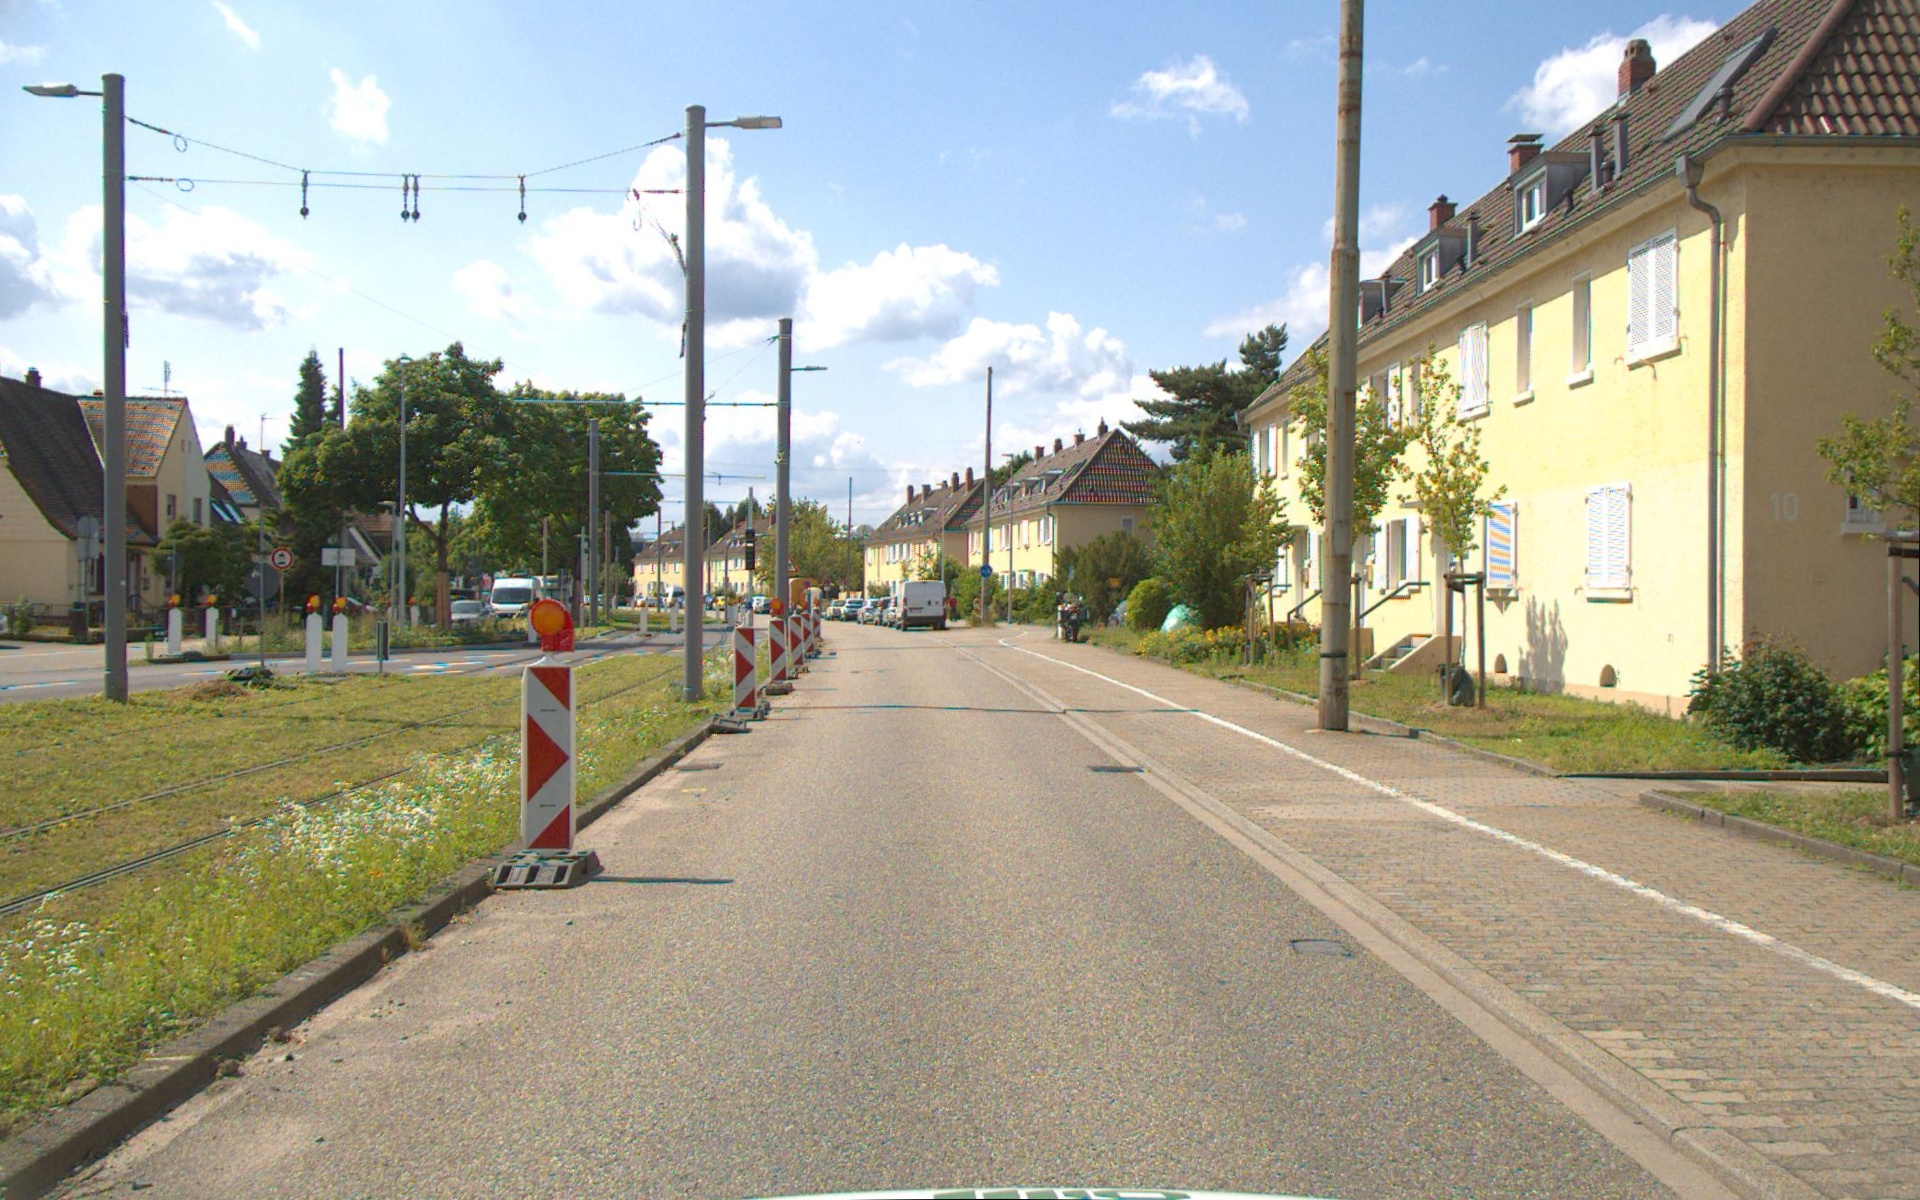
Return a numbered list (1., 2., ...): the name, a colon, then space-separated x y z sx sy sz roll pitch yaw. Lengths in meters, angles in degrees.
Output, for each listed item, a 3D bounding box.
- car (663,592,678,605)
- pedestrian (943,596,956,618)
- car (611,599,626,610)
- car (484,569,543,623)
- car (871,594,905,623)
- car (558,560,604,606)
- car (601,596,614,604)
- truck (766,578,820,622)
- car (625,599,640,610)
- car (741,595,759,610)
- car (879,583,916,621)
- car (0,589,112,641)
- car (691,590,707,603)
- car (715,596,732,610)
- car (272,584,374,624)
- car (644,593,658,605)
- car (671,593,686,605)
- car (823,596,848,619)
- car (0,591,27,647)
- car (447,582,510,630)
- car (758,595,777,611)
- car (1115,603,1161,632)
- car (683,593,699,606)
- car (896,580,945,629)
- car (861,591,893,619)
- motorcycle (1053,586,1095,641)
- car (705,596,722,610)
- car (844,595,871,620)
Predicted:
1. car: -34.099 -0.189 194.784 1.150 1.451 2.647 0 0 -22
2. pedestrian: -0.606 0.431 96.717 0.620 1.277 0.725 0 0 -11
3. car: -45.178 0.561 218.786 1.244 1.451 2.639 0 0 -29
4. car: -20.612 -0.188 76.471 2.364 2.379 4.864 0 0 -12
5. car: -3.997 0.472 91.644 1.538 1.579 3.782 0 0 -8
6. car: -20.344 -0.903 88.944 2.364 2.411 4.865 0 1 -12
7. car: -47.857 0.020 224.634 1.242 1.162 2.643 0 0 -26
8. truck: -14.066 -0.005 138.649 2.600 3.555 9.389 0 0 -18
9. car: -42.046 0.570 212.154 1.242 1.451 2.644 0 0 -25
10. car: -20.143 0.252 158.840 1.238 1.451 2.651 0 0 -18
11. car: -3.272 0.087 86.468 1.538 1.930 3.782 0 0 -8
12. car: -27.085 0.423 48.103 3.907 1.422 1.704 1 1 -2
13. car: -28.817 -0.402 182.677 1.240 1.374 2.648 0 0 -21
14. car: -24.429 0.285 170.972 1.239 1.451 2.650 0 0 -20
15. car: -29.903 0.183 77.723 4.028 1.807 2.098 0 0 -6
16. car: -38.341 -0.100 205.066 1.240 1.451 2.646 0 0 -23
17. car: -32.421 -0.123 190.659 1.150 1.451 2.647 0 0 -22
18. car: -8.700 0.506 115.326 1.538 1.579 3.472 0 0 -8
19. car: -27.361 0.492 43.881 4.025 1.492 1.990 0 0 -2
20. car: -18.931 0.238 65.159 2.057 1.807 4.108 0 0 -12
21. car: -17.568 0.248 150.943 1.238 1.451 2.651 0 0 -18
22. car: 6.514 0.633 60.798 1.285 1.047 2.767 0 0 -3
23. car: -30.364 -0.054 186.486 1.240 1.374 2.648 0 0 -21
24. car: -1.870 0.206 76.878 2.025 2.186 4.874 0 0 -5
25. car: -4.889 0.288 97.184 1.538 1.578 3.782 0 0 -8
26. motorcycle: 3.496 0.395 50.984 1.045 1.664 2.082 0 0 -3
27. car: -26.264 0.279 176.246 1.240 1.451 2.648 0 0 -21
28. car: -6.761 0.493 108.932 1.538 1.579 3.472 0 0 -8
